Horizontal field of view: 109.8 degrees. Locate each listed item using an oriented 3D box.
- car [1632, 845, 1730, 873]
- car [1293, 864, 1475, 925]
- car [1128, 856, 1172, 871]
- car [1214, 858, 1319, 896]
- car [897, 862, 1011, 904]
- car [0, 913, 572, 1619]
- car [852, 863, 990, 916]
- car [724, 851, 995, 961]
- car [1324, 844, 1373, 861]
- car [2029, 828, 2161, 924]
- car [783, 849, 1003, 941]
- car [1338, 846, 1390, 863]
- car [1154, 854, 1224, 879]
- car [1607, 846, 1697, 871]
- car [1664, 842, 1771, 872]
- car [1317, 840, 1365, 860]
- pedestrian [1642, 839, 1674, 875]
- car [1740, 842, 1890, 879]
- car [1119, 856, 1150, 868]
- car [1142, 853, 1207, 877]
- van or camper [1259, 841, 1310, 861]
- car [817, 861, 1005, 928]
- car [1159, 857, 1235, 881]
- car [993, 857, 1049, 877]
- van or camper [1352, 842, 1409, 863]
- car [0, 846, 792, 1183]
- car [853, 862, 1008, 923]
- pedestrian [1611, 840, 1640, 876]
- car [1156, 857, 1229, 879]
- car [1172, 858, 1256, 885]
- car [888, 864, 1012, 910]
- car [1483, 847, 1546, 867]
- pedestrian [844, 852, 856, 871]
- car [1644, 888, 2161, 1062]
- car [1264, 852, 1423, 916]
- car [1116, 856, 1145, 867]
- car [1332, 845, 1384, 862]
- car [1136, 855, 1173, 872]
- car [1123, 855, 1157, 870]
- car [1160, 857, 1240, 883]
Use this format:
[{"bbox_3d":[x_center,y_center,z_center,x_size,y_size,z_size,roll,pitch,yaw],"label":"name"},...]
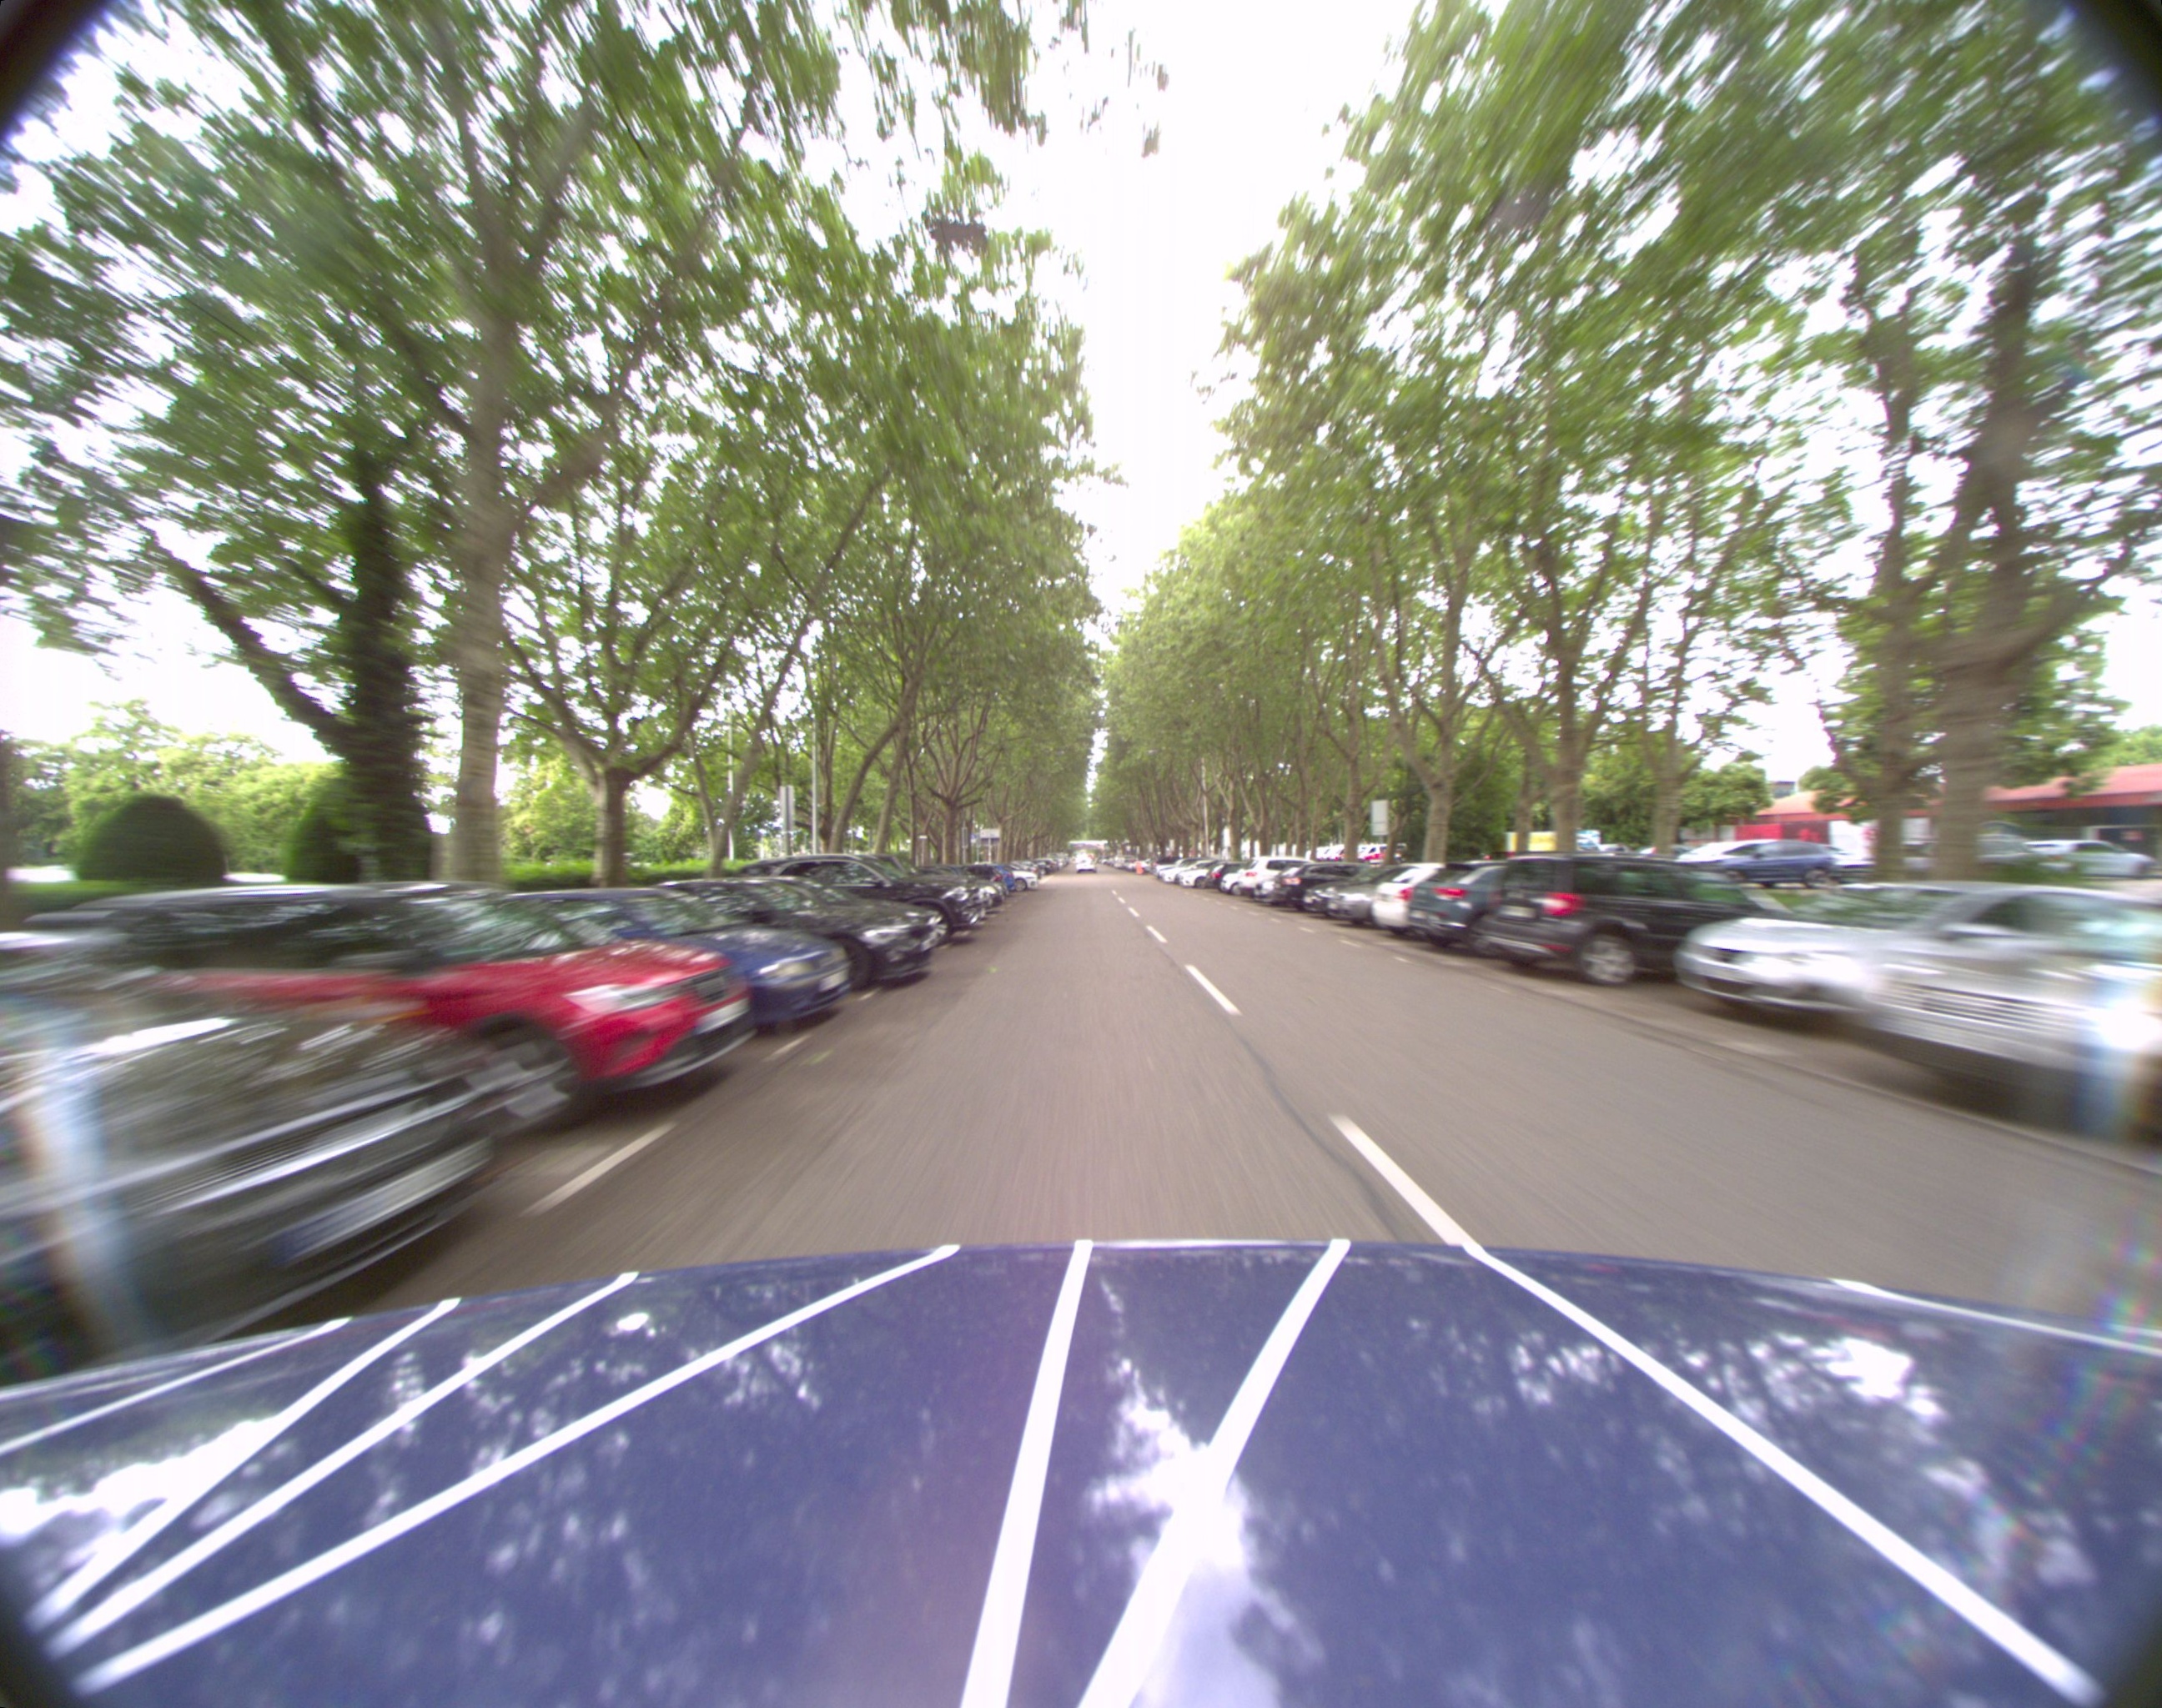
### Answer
[{"bbox_3d":[33.984,0.282,43.109,3.997,1.388,1.901,-2,0,0],"label":"car"},{"bbox_3d":[7.805,1.016,19.818,3.997,1.361,1.843,-2,1,-1],"label":"car"},{"bbox_3d":[7.461,1.027,82.473,4.575,1.425,2.090,1,0,2],"label":"car"},{"bbox_3d":[7.856,0.946,32.433,3.996,1.445,1.855,-2,1,1],"label":"car"},{"bbox_3d":[-4.933,1.122,30.054,4.207,1.447,1.785,-2,0,-3],"label":"car"},{"bbox_3d":[-4.634,1.101,2.704,4.356,1.493,1.926,-2,0,3],"label":"car"},{"bbox_3d":[-5.221,1.142,25.285,4.207,1.509,1.785,-2,0,-3],"label":"car"},{"bbox_3d":[-4.058,0.930,14.552,4.507,1.786,2.047,-2,0,0],"label":"car"},{"bbox_3d":[34.576,-0.150,98.410,5.467,2.009,2.393,-2,1,-2],"label":"car"},{"bbox_3d":[22.852,0.354,15.300,4.955,1.786,2.182,-2,1,-2],"label":"car"},{"bbox_3d":[-4.252,0.905,17.709,4.506,1.855,2.048,-2,0,2],"label":"car"},{"bbox_3d":[33.963,0.007,91.192,5.467,1.839,1.999,-2,1,-2],"label":"car"},{"bbox_3d":[7.391,0.821,52.078,4.420,1.616,2.047,1,0,-3],"label":"car"},{"bbox_3d":[34.393,0.266,45.840,3.997,1.388,1.901,-2,0,0],"label":"car"},{"bbox_3d":[34.004,0.155,40.673,3.997,1.440,1.991,-2,0,0],"label":"car"},{"bbox_3d":[34.539,-0.525,101.097,5.467,2.502,2.393,-2,1,-2],"label":"car"},{"bbox_3d":[29.603,0.165,39.011,0.944,1.790,0.918,-2,1,0],"label":"pedestrian"},{"bbox_3d":[34.112,0.274,35.427,4.954,1.512,2.183,-2,1,-1],"label":"car"},{"bbox_3d":[7.006,1.037,99.613,4.039,1.518,1.800,1,-1,2],"label":"car"},{"bbox_3d":[6.761,0.787,55.235,4.420,1.616,2.047,1,0,-3],"label":"car"},{"bbox_3d":[23.739,-0.340,88.707,5.299,2.087,2.244,-2,1,-2],"label":"van or camper"},{"bbox_3d":[-4.490,1.059,20.526,4.505,1.562,2.048,-2,0,3],"label":"car"},{"bbox_3d":[7.196,0.939,47.397,4.420,1.387,1.724,1,0,-2],"label":"car"},{"bbox_3d":[-5.430,1.158,69.281,4.832,1.497,2.000,-3,0,-2],"label":"car"},{"bbox_3d":[34.856,-0.220,88.575,5.719,2.242,2.329,-2,1,0],"label":"van or camper"},{"bbox_3d":[-4.686,0.941,5.264,4.505,1.786,2.048,-2,0,4],"label":"car"},{"bbox_3d":[-4.420,1.119,22.731,4.206,1.510,1.785,-3,1,0],"label":"car"},{"bbox_3d":[28.046,0.188,39.159,0.819,1.790,0.918,-2,1,0],"label":"pedestrian"},{"bbox_3d":[7.253,0.921,49.744,4.420,1.387,2.047,1,0,-3],"label":"car"},{"bbox_3d":[7.343,0.978,42.285,4.418,1.409,1.784,1,0,2],"label":"car"},{"bbox_3d":[-4.669,1.175,27.647,4.207,1.447,1.785,-2,0,-3],"label":"car"},{"bbox_3d":[34.223,0.235,60.064,3.997,1.499,1.733,-2,1,-1],"label":"car"},{"bbox_3d":[-19.408,0.662,63.849,0.724,1.558,0.698,-1,1,6],"label":"pedestrian"},{"bbox_3d":[8.029,1.064,7.274,3.941,1.356,1.827,1,0,-1],"label":"car"},{"bbox_3d":[7.580,0.838,22.247,3.996,1.672,1.855,-2,1,1],"label":"car"},{"bbox_3d":[6.823,1.061,104.955,3.996,1.422,2.001,1,-1,2],"label":"car"},{"bbox_3d":[34.095,-0.095,93.704,5.467,1.986,2.475,-2,1,-2],"label":"car"},{"bbox_3d":[7.190,0.947,74.740,3.565,1.569,1.847,1,0,2],"label":"car"},{"bbox_3d":[6.723,0.961,87.210,3.847,1.560,1.847,1,0,2],"label":"car"},{"bbox_3d":[6.947,0.938,44.752,4.419,1.416,1.776,1,0,-1],"label":"car"}]
